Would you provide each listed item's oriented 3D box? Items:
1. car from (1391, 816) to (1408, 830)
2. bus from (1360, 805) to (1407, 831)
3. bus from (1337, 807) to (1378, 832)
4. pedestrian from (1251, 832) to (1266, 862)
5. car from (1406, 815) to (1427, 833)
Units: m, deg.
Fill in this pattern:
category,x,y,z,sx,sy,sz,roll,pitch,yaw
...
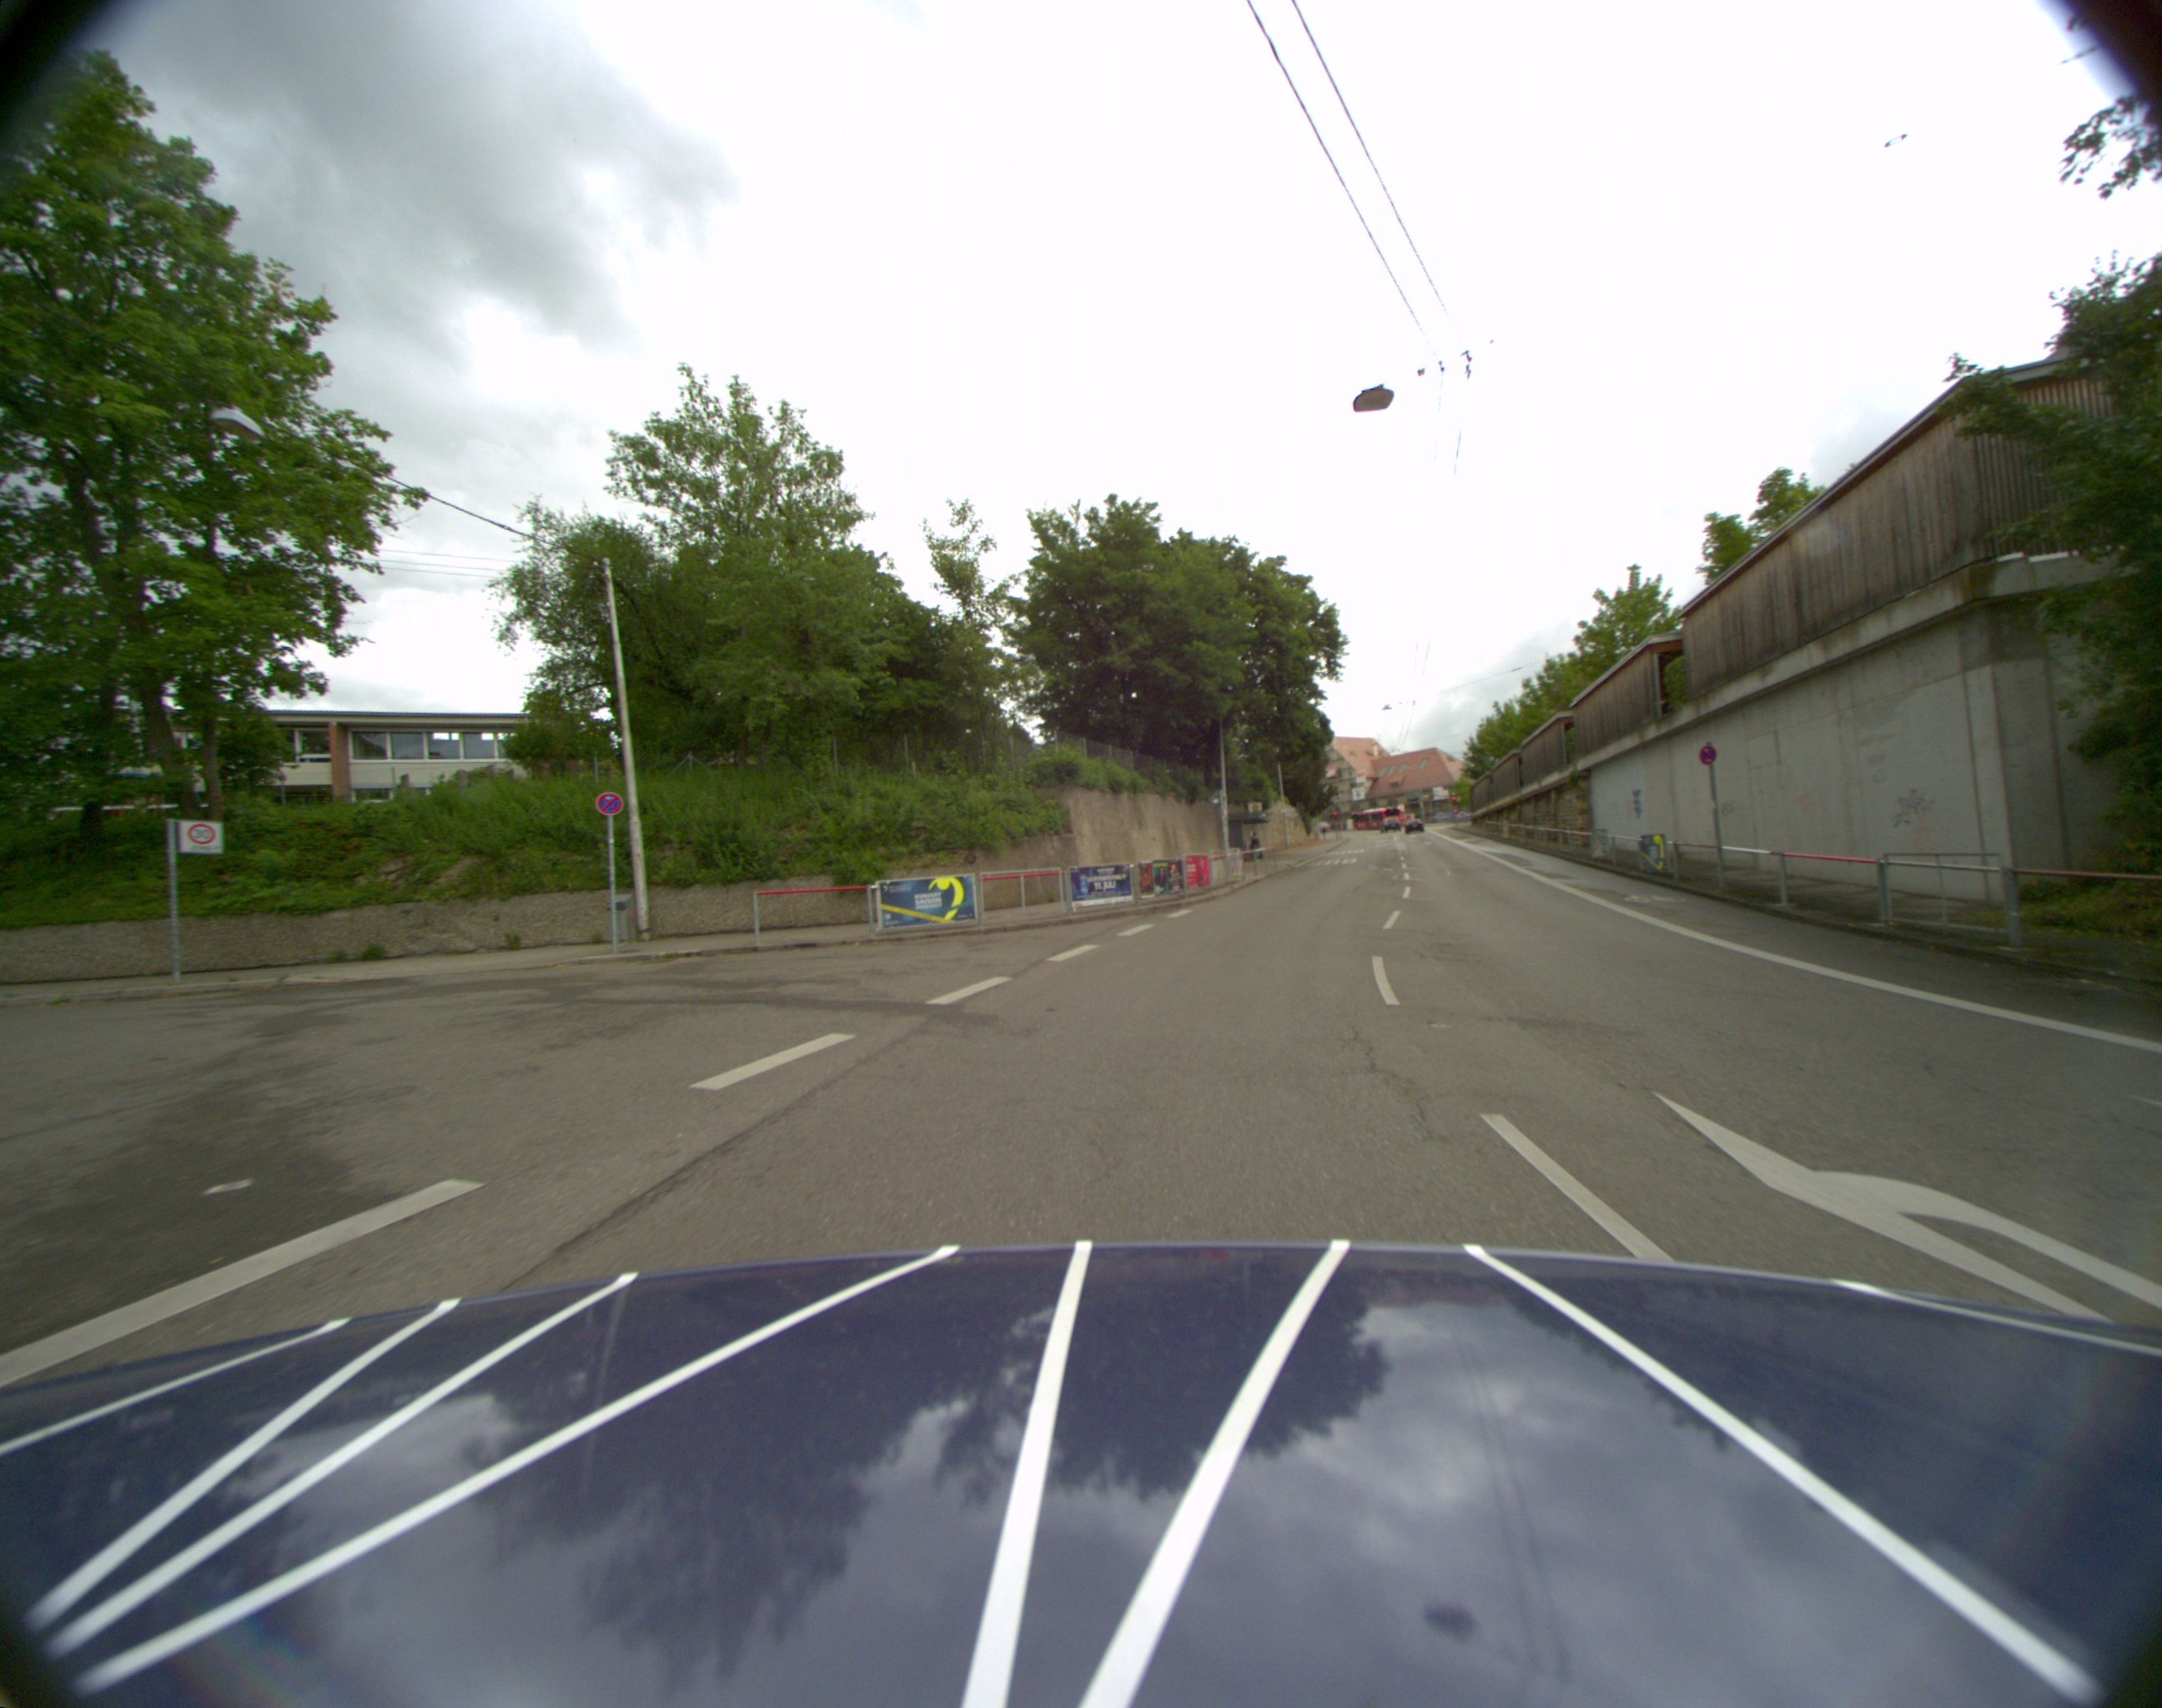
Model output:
category,x,y,z,sx,sy,sz,roll,pitch,yaw
car,40.194,-3.890,95.821,1.852,1.706,3.885,-2,2,22
bus,45.460,-5.312,114.515,2.911,3.617,9.480,-3,1,-2
bus,45.052,-5.532,124.010,2.911,3.617,9.480,-3,1,-1
pedestrian,9.994,-0.391,42.809,0.717,1.631,0.741,-2,2,13
car,34.956,-3.155,79.172,1.852,1.706,3.885,-2,2,22
